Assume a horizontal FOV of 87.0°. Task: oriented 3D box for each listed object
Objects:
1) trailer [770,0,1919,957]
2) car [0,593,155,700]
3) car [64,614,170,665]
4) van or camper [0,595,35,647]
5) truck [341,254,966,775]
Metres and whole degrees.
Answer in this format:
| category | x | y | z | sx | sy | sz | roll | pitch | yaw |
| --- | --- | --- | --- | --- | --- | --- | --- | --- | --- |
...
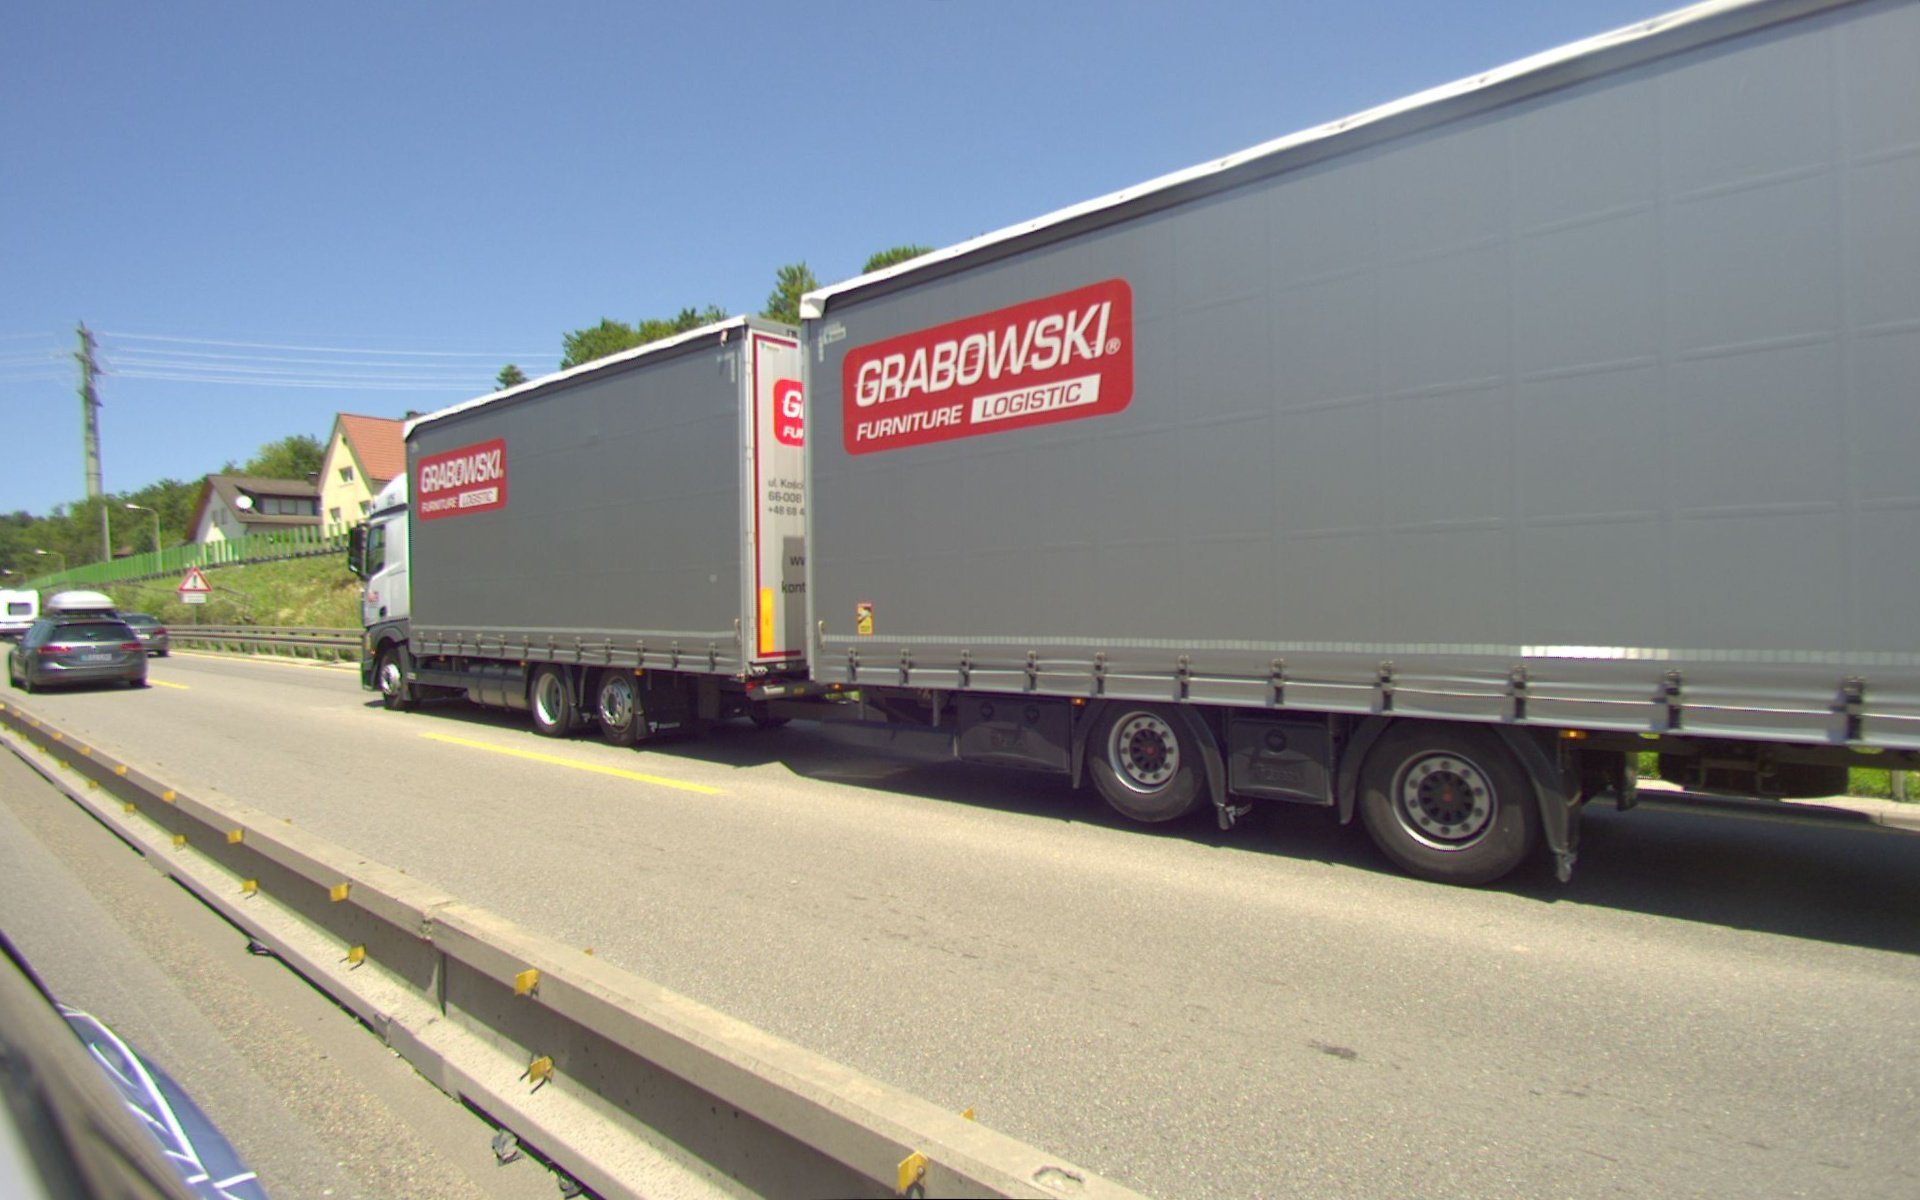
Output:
| category | x | y | z | sx | sy | sz | roll | pitch | yaw |
| --- | --- | --- | --- | --- | --- | --- | --- | --- | --- |
| trailer | 2.675 | -0.605 | 6.682 | 8.701 | 4.019 | 2.899 | -1 | 0 | 41 |
| car | -17.855 | 0.880 | 20.357 | 4.499 | 1.904 | 1.830 | -2 | -1 | 42 |
| car | -28.219 | 1.254 | 33.805 | 5.299 | 1.519 | 1.972 | -1 | 0 | 42 |
| van or camper | -52.126 | 1.122 | 54.811 | 6.900 | 2.654 | 2.325 | -1 | 0 | 42 |
| truck | -4.708 | -0.654 | 13.028 | 10.380 | 4.430 | 2.593 | -1 | 0 | 41 |
